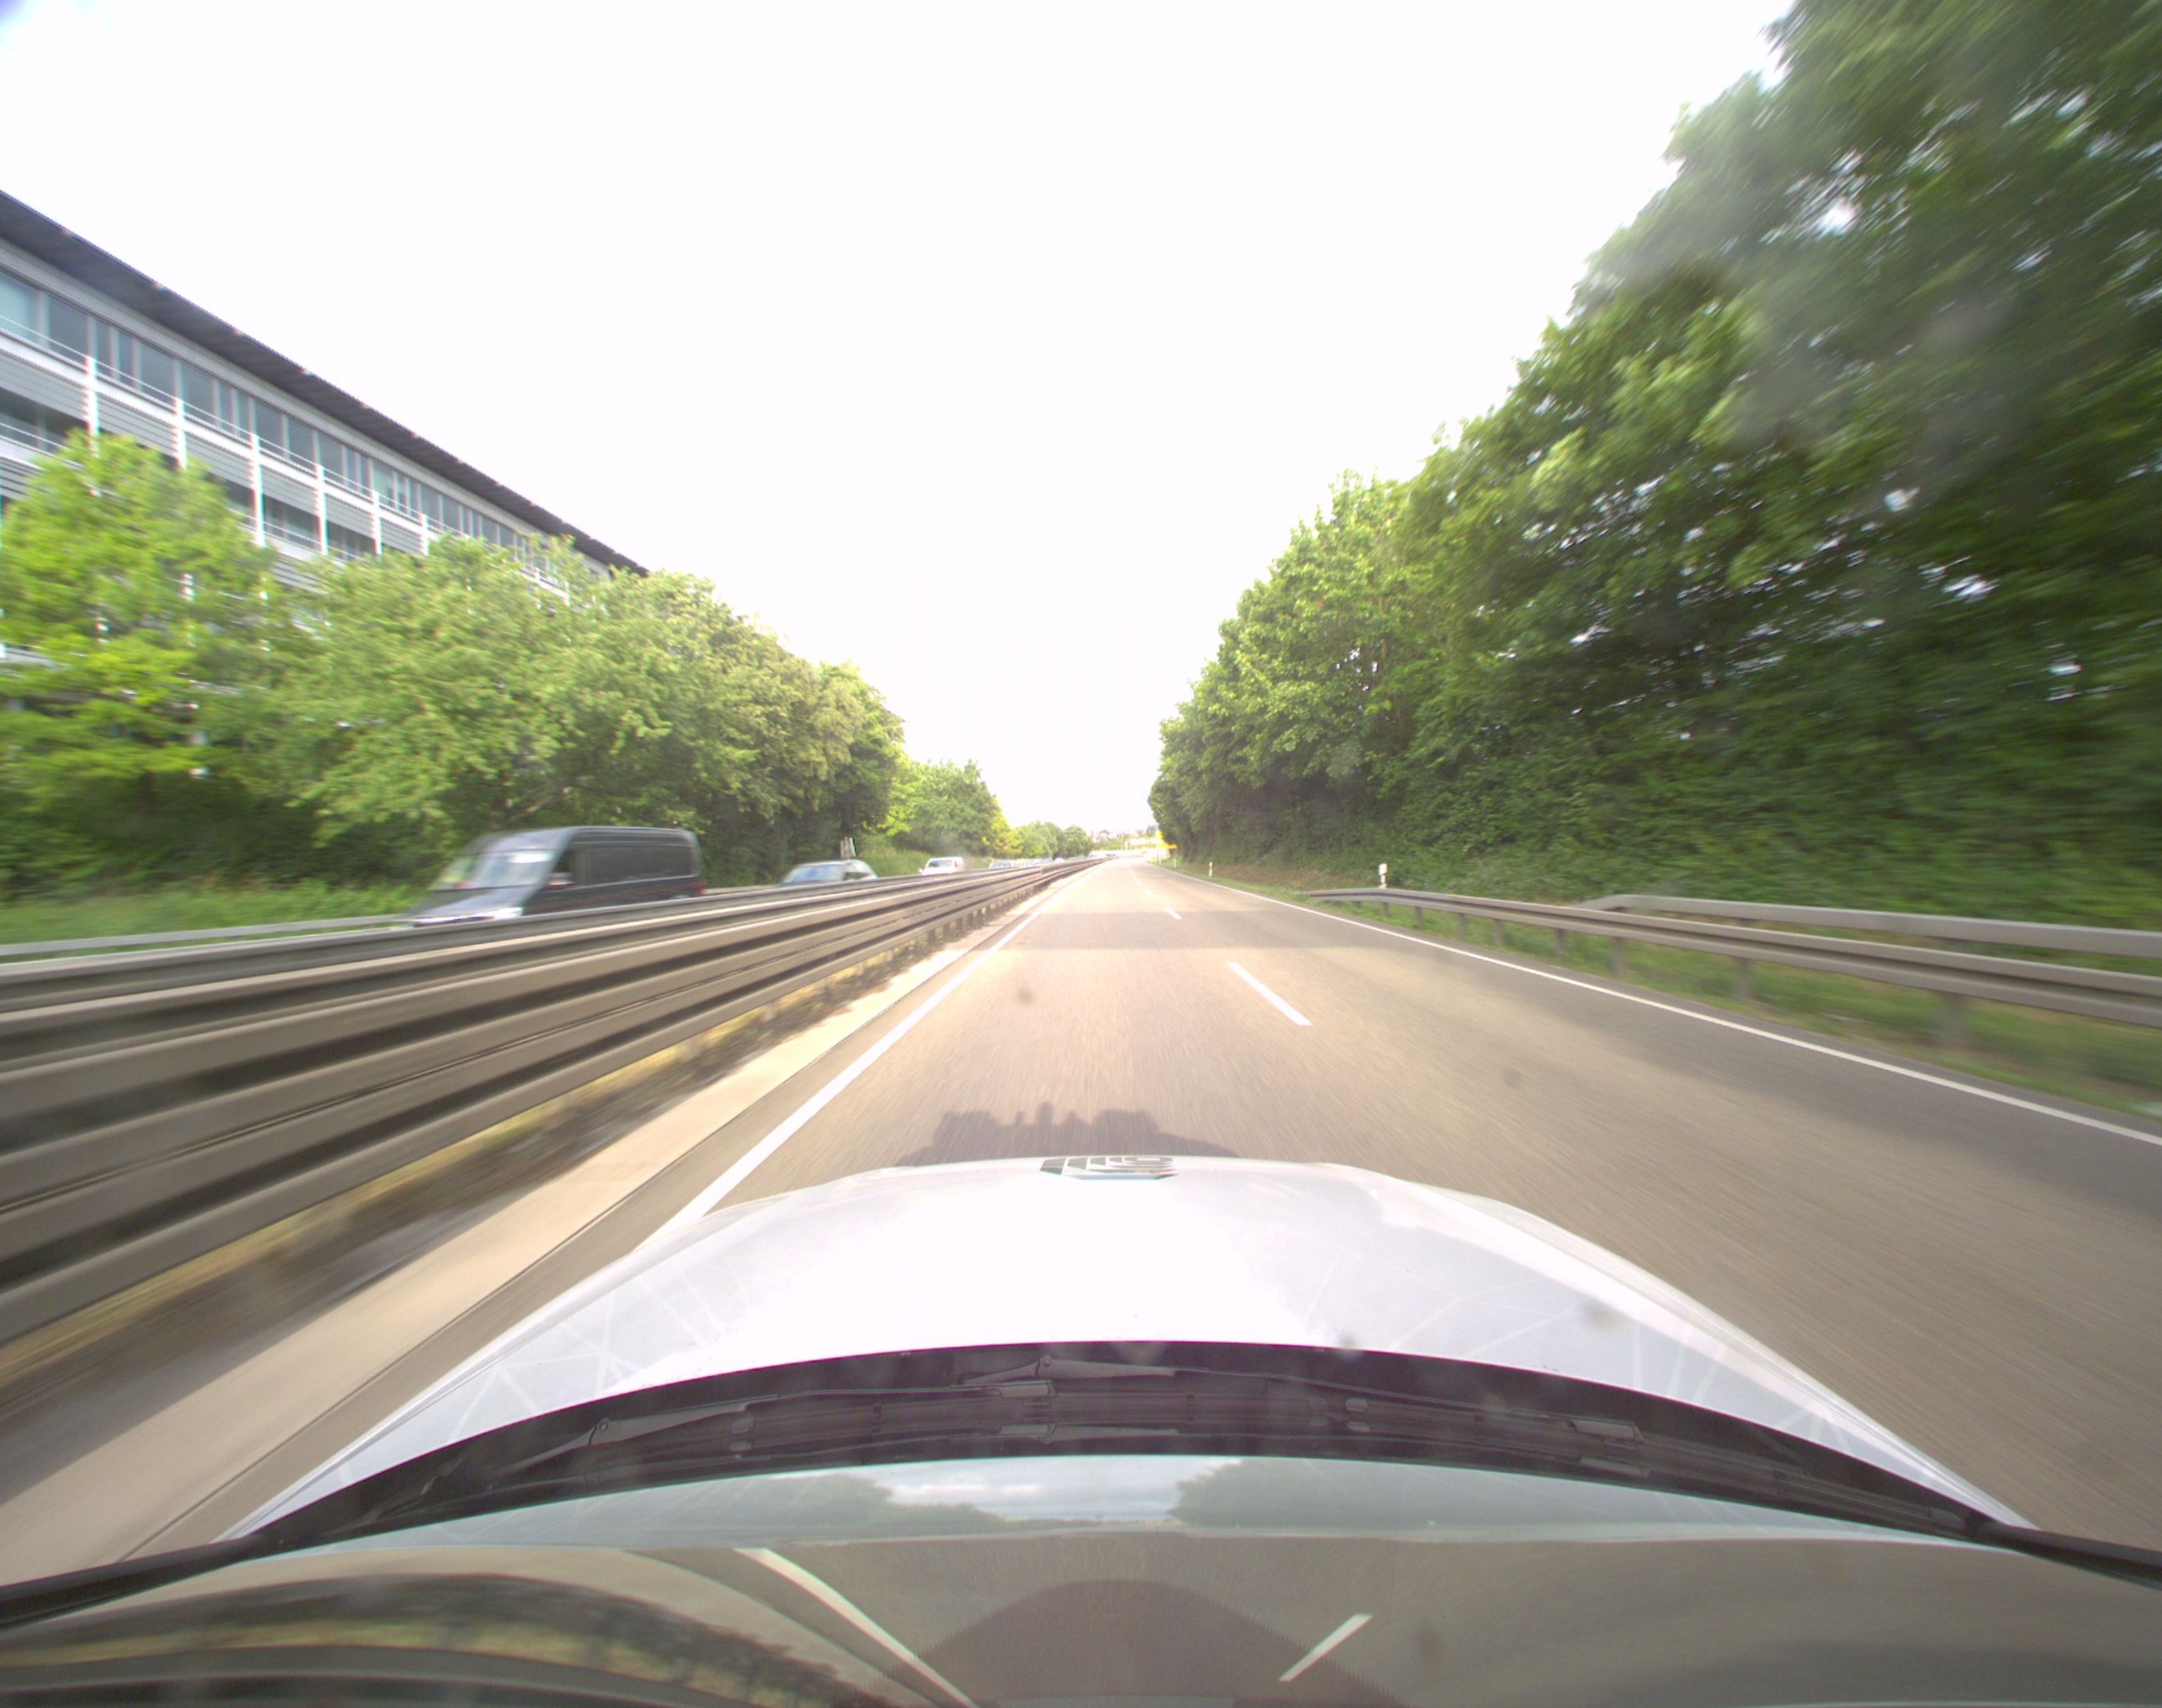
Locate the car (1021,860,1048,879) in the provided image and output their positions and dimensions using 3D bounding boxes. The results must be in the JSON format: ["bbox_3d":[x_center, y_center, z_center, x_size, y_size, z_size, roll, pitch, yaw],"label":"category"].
[{"bbox_3d":[-3.591,1.189,63.716,1.669,1.352,3.834,-2,0,2],"label":"car"}]

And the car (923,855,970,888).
[{"bbox_3d":[-8.303,1.037,50.605,1.859,1.855,4.627,-2,0,3],"label":"car"}]

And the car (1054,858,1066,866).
[{"bbox_3d":[-3.791,1.446,146.761,1.810,1.485,4.418,-2,0,1],"label":"car"}]

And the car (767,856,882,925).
[{"bbox_3d":[-6.284,0.835,20.354,1.600,1.528,3.641,-2,0,1],"label":"car"}]

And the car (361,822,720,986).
[{"bbox_3d":[-10.064,0.785,16.305,2.240,2.536,6.945,-2,0,3],"label":"car"}]

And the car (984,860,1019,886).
[{"bbox_3d":[-4.911,1.177,50.664,1.675,1.486,3.648,-2,0,2],"label":"car"}]
